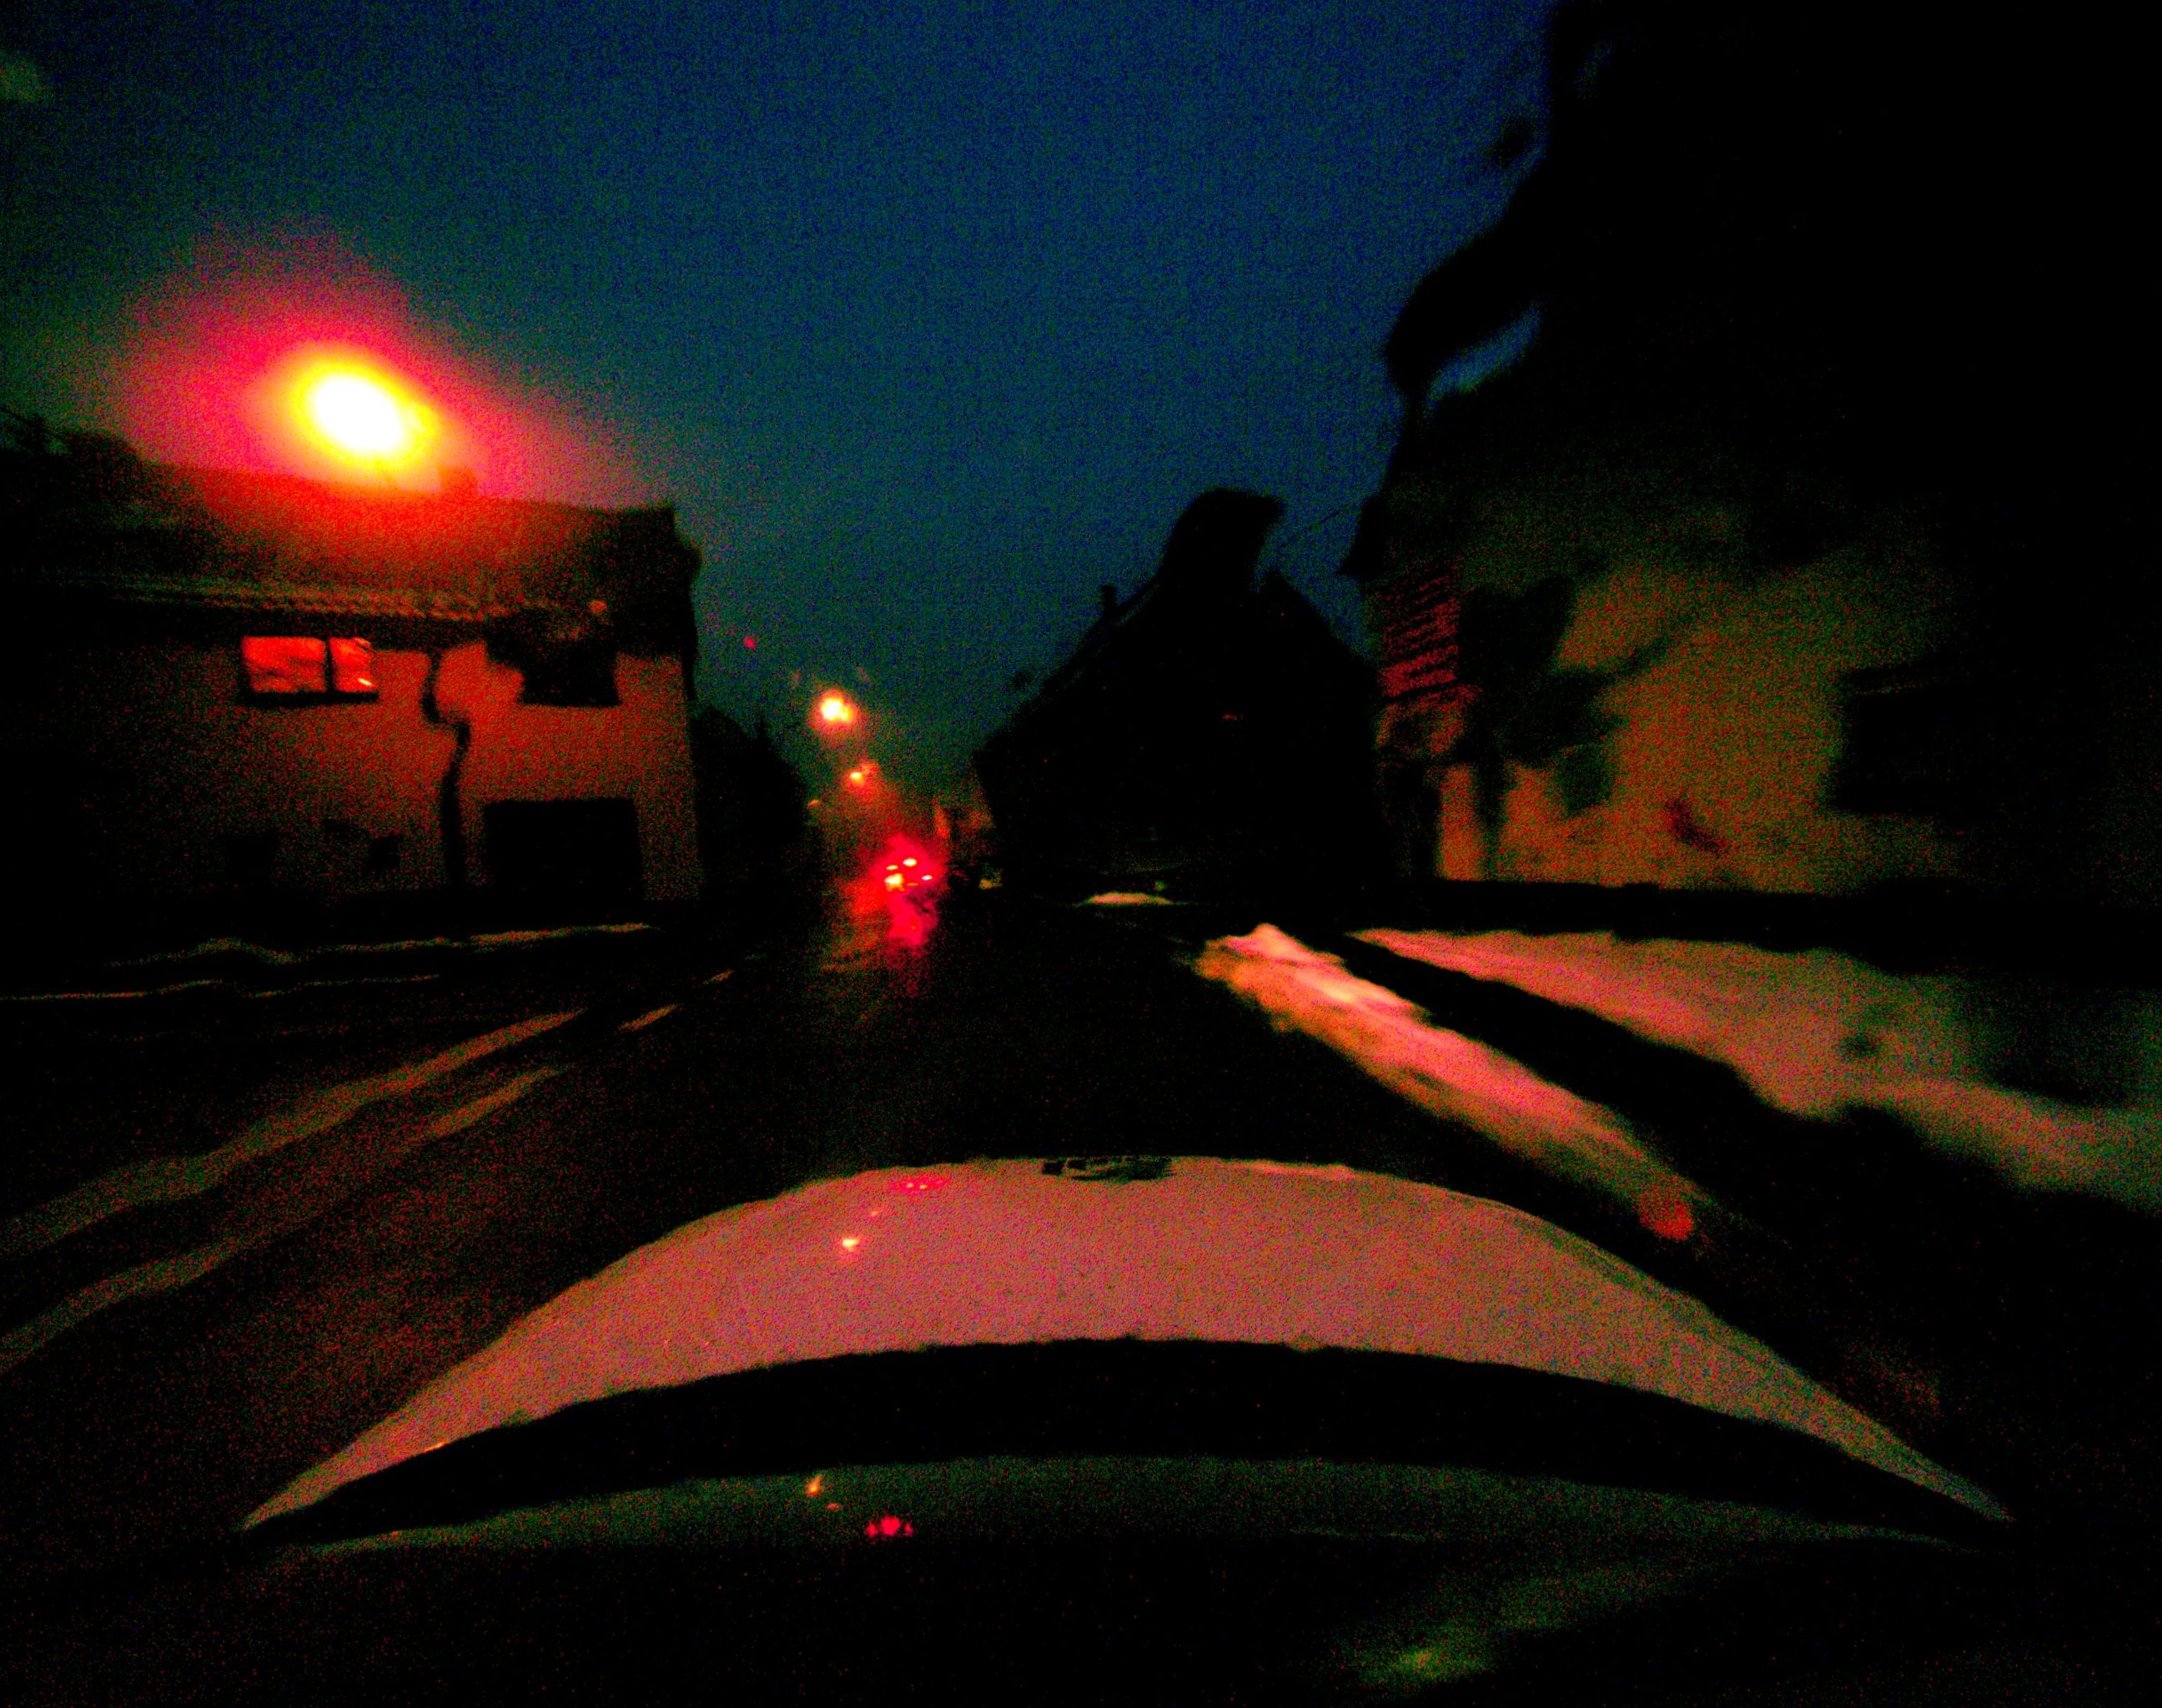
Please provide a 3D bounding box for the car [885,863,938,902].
[{"bbox_3d":[-7.105,1.166,34.101,1.995,1.508,3.982,-1,-1,-12],"label":"car"}]

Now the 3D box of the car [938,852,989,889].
[{"bbox_3d":[-5.508,0.746,37.735,1.913,1.481,4.262,-4,0,-13],"label":"car"}]

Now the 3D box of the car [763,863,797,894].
[{"bbox_3d":[-17.832,1.472,48.116,1.771,1.737,4.605,1,-2,-22],"label":"car"}]

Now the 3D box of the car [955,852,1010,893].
[{"bbox_3d":[-3.994,0.739,32.583,1.719,1.500,3.887,-1,-1,-14],"label":"car"}]

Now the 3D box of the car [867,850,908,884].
[{"bbox_3d":[-10.419,0.721,43.743,1.997,1.728,3.979,-1,-1,-15],"label":"car"}]
